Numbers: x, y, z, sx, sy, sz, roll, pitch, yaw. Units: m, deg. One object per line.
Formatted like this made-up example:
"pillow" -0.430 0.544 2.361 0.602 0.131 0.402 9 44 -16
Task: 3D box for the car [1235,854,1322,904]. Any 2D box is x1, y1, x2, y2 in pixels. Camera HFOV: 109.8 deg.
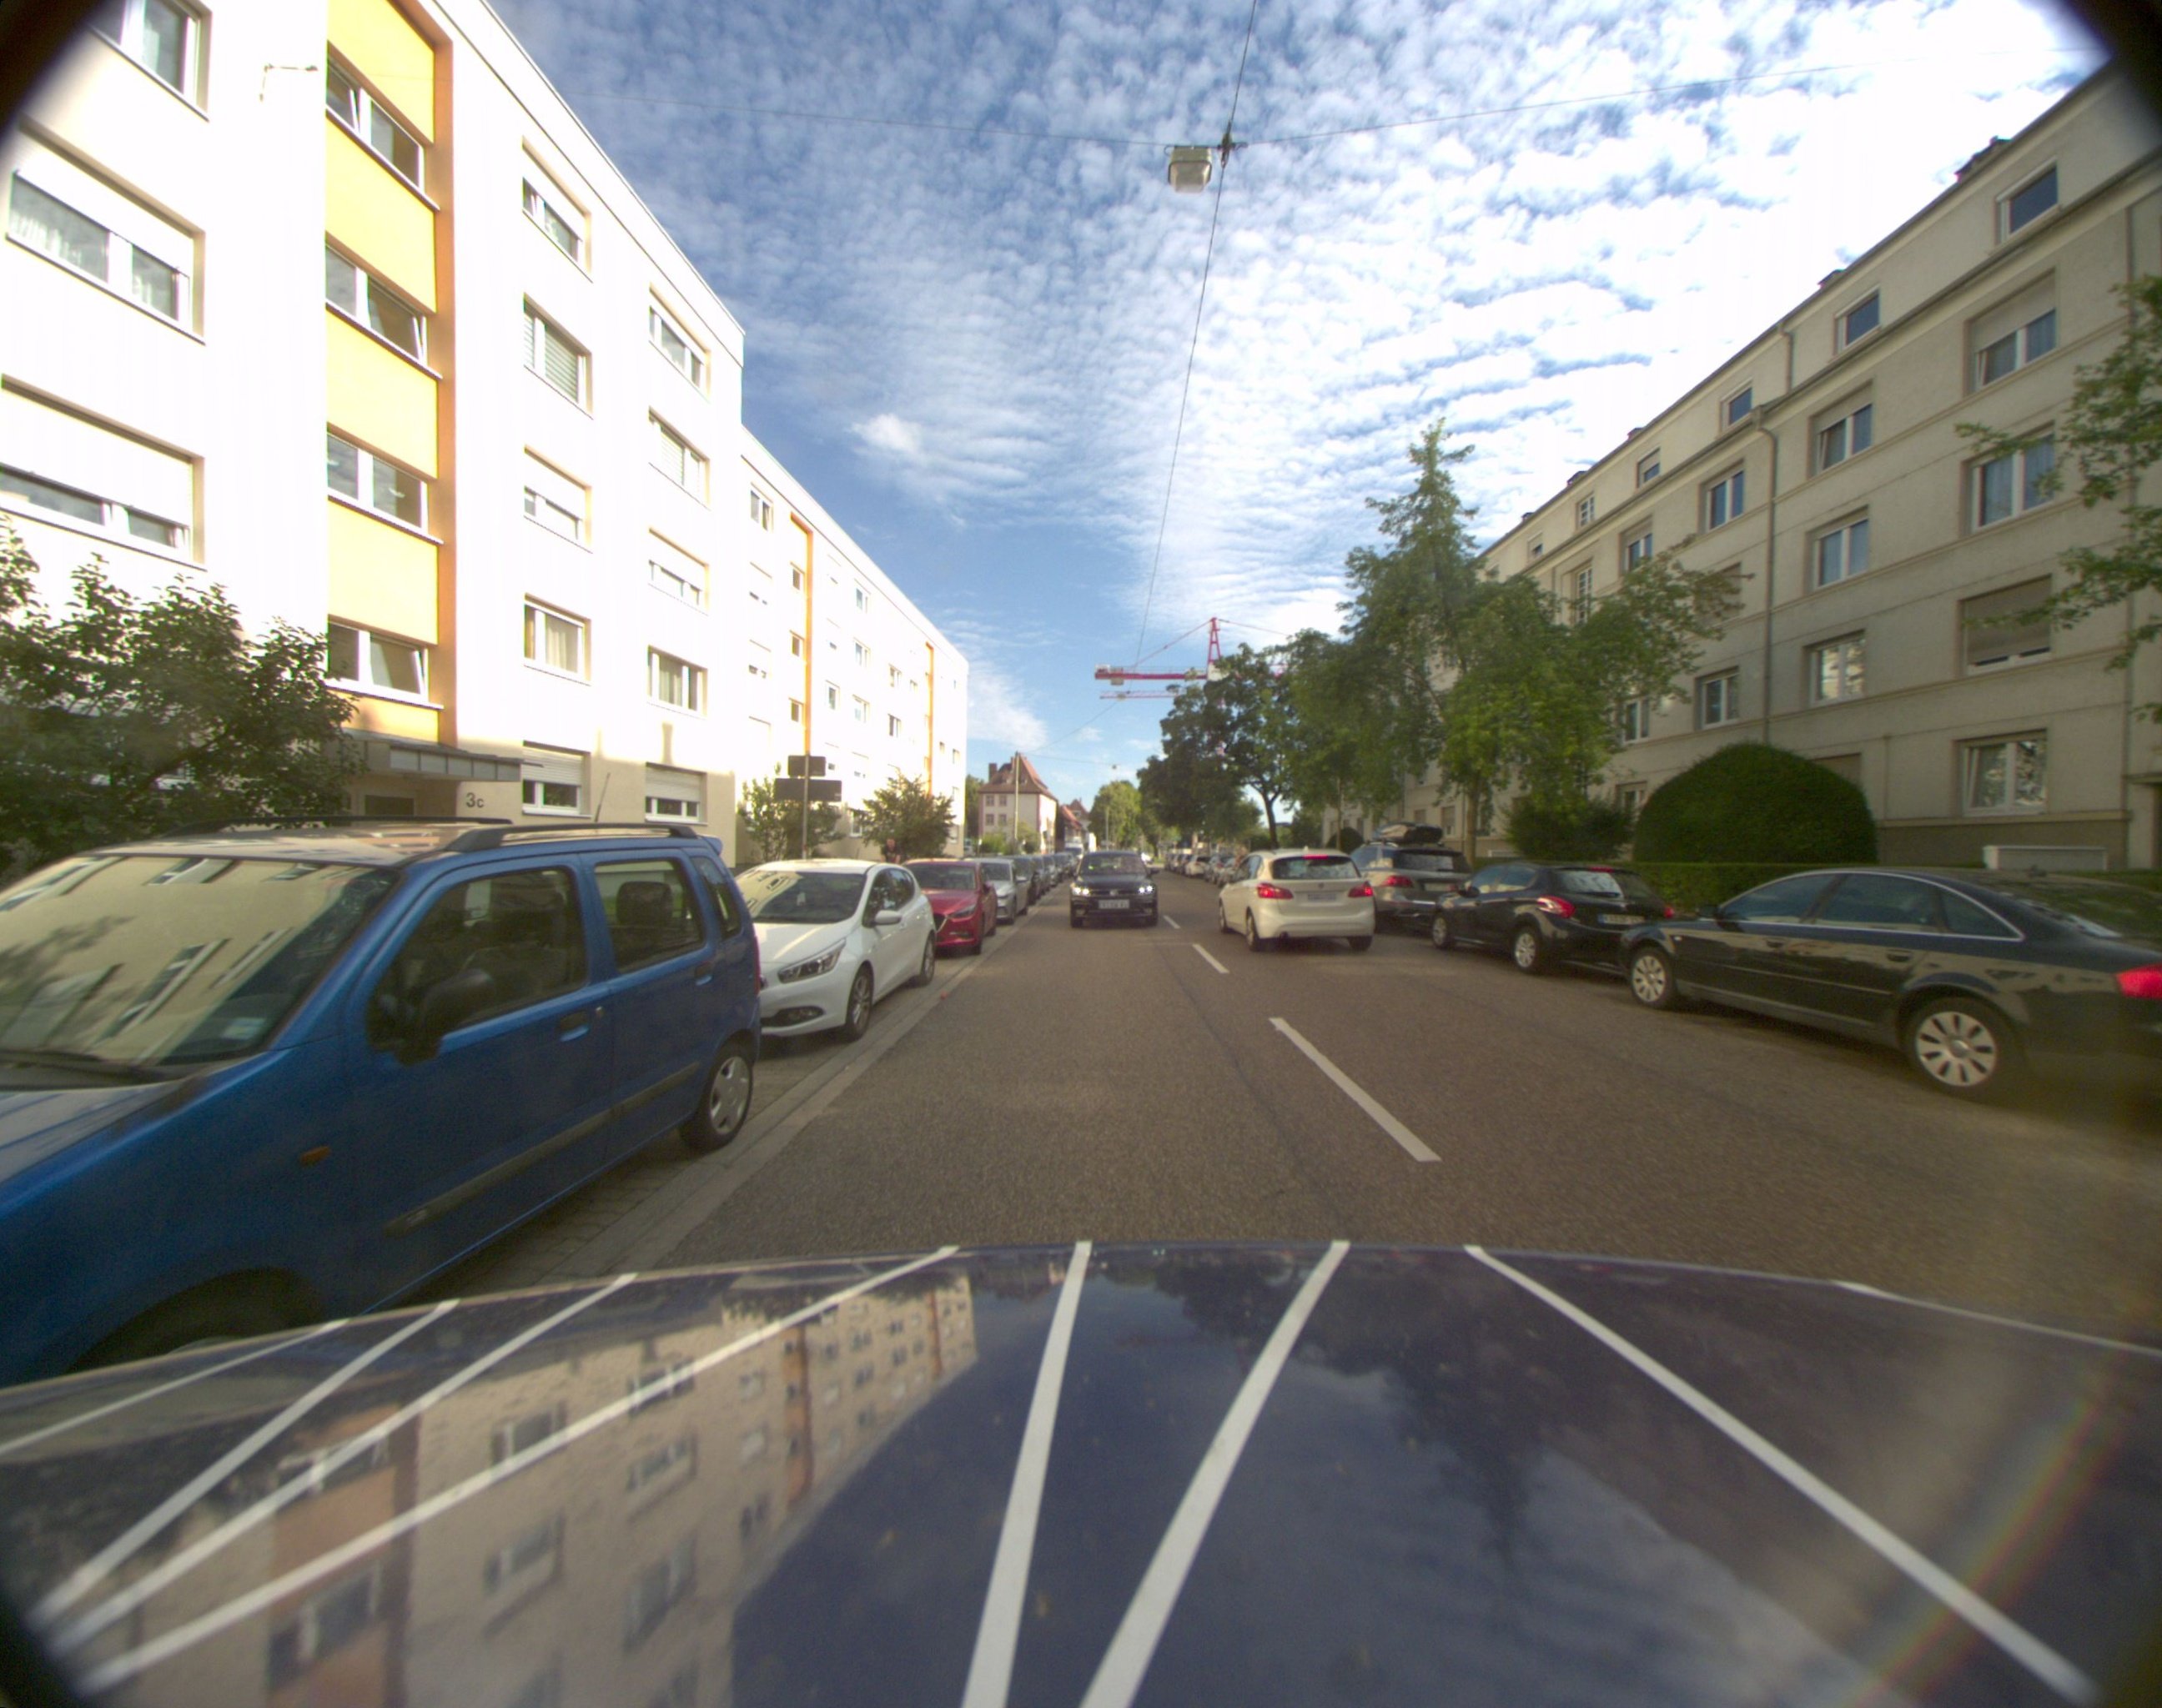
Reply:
"car" 6.889 0.816 27.024 1.860 1.477 4.944 3 0 2

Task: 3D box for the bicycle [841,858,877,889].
"bicycle" -8.213 0.703 28.189 0.595 1.024 2.119 3 1 1

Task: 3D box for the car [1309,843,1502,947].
"car" 6.501 0.711 15.964 1.882 1.782 4.970 2 0 1

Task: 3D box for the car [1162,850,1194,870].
"car" 7.897 0.435 62.275 1.932 1.477 4.420 2 0 -1

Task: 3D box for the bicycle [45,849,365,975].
"bicycle" -10.323 0.594 9.196 0.728 1.283 2.635 -1 1 2

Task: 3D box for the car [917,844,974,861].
"car" -12.100 -0.165 68.006 4.675 1.473 1.871 0 1 7

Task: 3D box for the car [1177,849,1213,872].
"car" 7.701 0.436 51.876 1.860 1.477 4.684 1 0 2

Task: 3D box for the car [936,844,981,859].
"car" -12.134 -0.271 75.398 4.084 1.473 1.872 0 1 11

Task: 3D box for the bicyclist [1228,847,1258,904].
"bicyclist" 4.623 0.597 21.710 0.643 1.591 0.990 -1 1 2

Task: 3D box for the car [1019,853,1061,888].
"car" -1.849 0.716 35.410 1.704 1.455 4.179 1 0 0

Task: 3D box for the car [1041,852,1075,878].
"car" -1.319 0.628 45.708 1.687 1.427 4.207 1 0 3

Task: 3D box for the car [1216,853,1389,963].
"car" 3.448 0.751 12.644 1.863 1.520 4.011 0 0 3

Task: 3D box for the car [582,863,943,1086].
"car" -2.630 0.880 7.433 1.733 1.452 4.116 1 1 1

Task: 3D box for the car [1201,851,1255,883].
"car" 7.522 0.634 39.335 1.860 1.477 4.683 1 0 0

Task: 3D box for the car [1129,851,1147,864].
"car" 6.580 0.395 88.019 1.744 1.493 4.010 0 0 1

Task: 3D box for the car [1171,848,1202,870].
"car" 7.880 0.352 57.268 1.824 1.477 4.369 2 0 2

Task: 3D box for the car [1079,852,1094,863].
"car" 0.754 0.463 100.693 1.662 1.477 4.001 1 0 4

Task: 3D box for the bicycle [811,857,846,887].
"bicycle" -9.333 0.644 28.119 0.502 1.024 2.069 3 1 1

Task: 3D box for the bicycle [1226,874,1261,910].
"bicycle" 4.612 1.053 21.633 0.643 0.918 1.858 -1 0 2

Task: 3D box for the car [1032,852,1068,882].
"car" -1.613 0.647 40.655 1.688 1.492 3.873 1 0 1

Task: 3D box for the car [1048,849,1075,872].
"car" -1.272 0.415 50.767 1.688 1.459 4.206 1 0 0

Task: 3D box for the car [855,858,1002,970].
"car" -2.402 0.868 12.963 1.733 1.506 4.190 1 1 -1

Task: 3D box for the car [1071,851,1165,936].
"car" 0.770 0.794 17.209 1.859 1.673 4.000 -1 0 1

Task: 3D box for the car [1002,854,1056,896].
"car" -1.999 0.777 30.225 1.687 1.477 4.293 2 1 2

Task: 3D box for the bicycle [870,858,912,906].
"bicycle" -4.784 0.685 19.228 0.525 1.128 1.929 0 1 1

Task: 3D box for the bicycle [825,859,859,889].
"bicycle" -8.813 0.719 28.101 0.502 1.024 2.095 3 1 1

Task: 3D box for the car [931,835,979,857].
"car" -13.042 -0.830 78.808 4.275 2.179 2.368 0 1 9

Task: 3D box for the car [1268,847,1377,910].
"car" 6.805 0.624 21.923 1.859 1.564 4.460 2 0 2

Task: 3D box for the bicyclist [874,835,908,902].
"bicyclist" -4.814 0.353 19.309 0.625 1.668 0.893 0 1 1

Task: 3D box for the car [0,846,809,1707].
"car" -2.754 0.808 2.860 1.732 1.640 4.117 1 1 4

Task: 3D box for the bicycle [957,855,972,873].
"bicycle" -7.120 0.597 46.337 0.597 0.992 1.692 0 2 1

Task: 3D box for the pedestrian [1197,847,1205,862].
"pedestrian" 13.485 0.065 85.478 0.743 1.758 0.775 -1 1 0

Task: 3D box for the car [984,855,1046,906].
"car" -2.094 0.817 25.025 1.666 1.482 3.941 1 0 0

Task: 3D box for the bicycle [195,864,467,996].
"bicycle" -8.884 0.809 9.230 0.596 1.283 2.635 3 1 2

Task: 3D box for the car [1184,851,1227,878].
"car" 7.530 0.602 46.494 1.860 1.477 4.798 4 1 2

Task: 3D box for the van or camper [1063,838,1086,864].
"van or camper" -0.613 -0.295 79.975 2.165 2.512 5.914 2 1 1

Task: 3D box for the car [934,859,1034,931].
"car" -2.176 0.881 18.114 1.665 1.408 4.059 2 1 2

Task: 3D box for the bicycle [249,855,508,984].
"bicycle" -8.277 0.685 9.189 0.605 1.283 2.635 2 1 2

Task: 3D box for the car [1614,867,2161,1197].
"car" 6.183 0.935 5.510 1.689 1.472 4.453 4 1 4

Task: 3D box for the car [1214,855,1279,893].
"car" 6.983 0.814 32.528 1.742 1.385 4.665 3 0 1

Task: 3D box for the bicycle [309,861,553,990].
"bicycle" -7.640 0.751 9.177 0.605 1.283 2.635 1 1 2

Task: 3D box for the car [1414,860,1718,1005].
"car" 6.421 0.912 10.714 1.689 1.472 4.119 4 1 2
